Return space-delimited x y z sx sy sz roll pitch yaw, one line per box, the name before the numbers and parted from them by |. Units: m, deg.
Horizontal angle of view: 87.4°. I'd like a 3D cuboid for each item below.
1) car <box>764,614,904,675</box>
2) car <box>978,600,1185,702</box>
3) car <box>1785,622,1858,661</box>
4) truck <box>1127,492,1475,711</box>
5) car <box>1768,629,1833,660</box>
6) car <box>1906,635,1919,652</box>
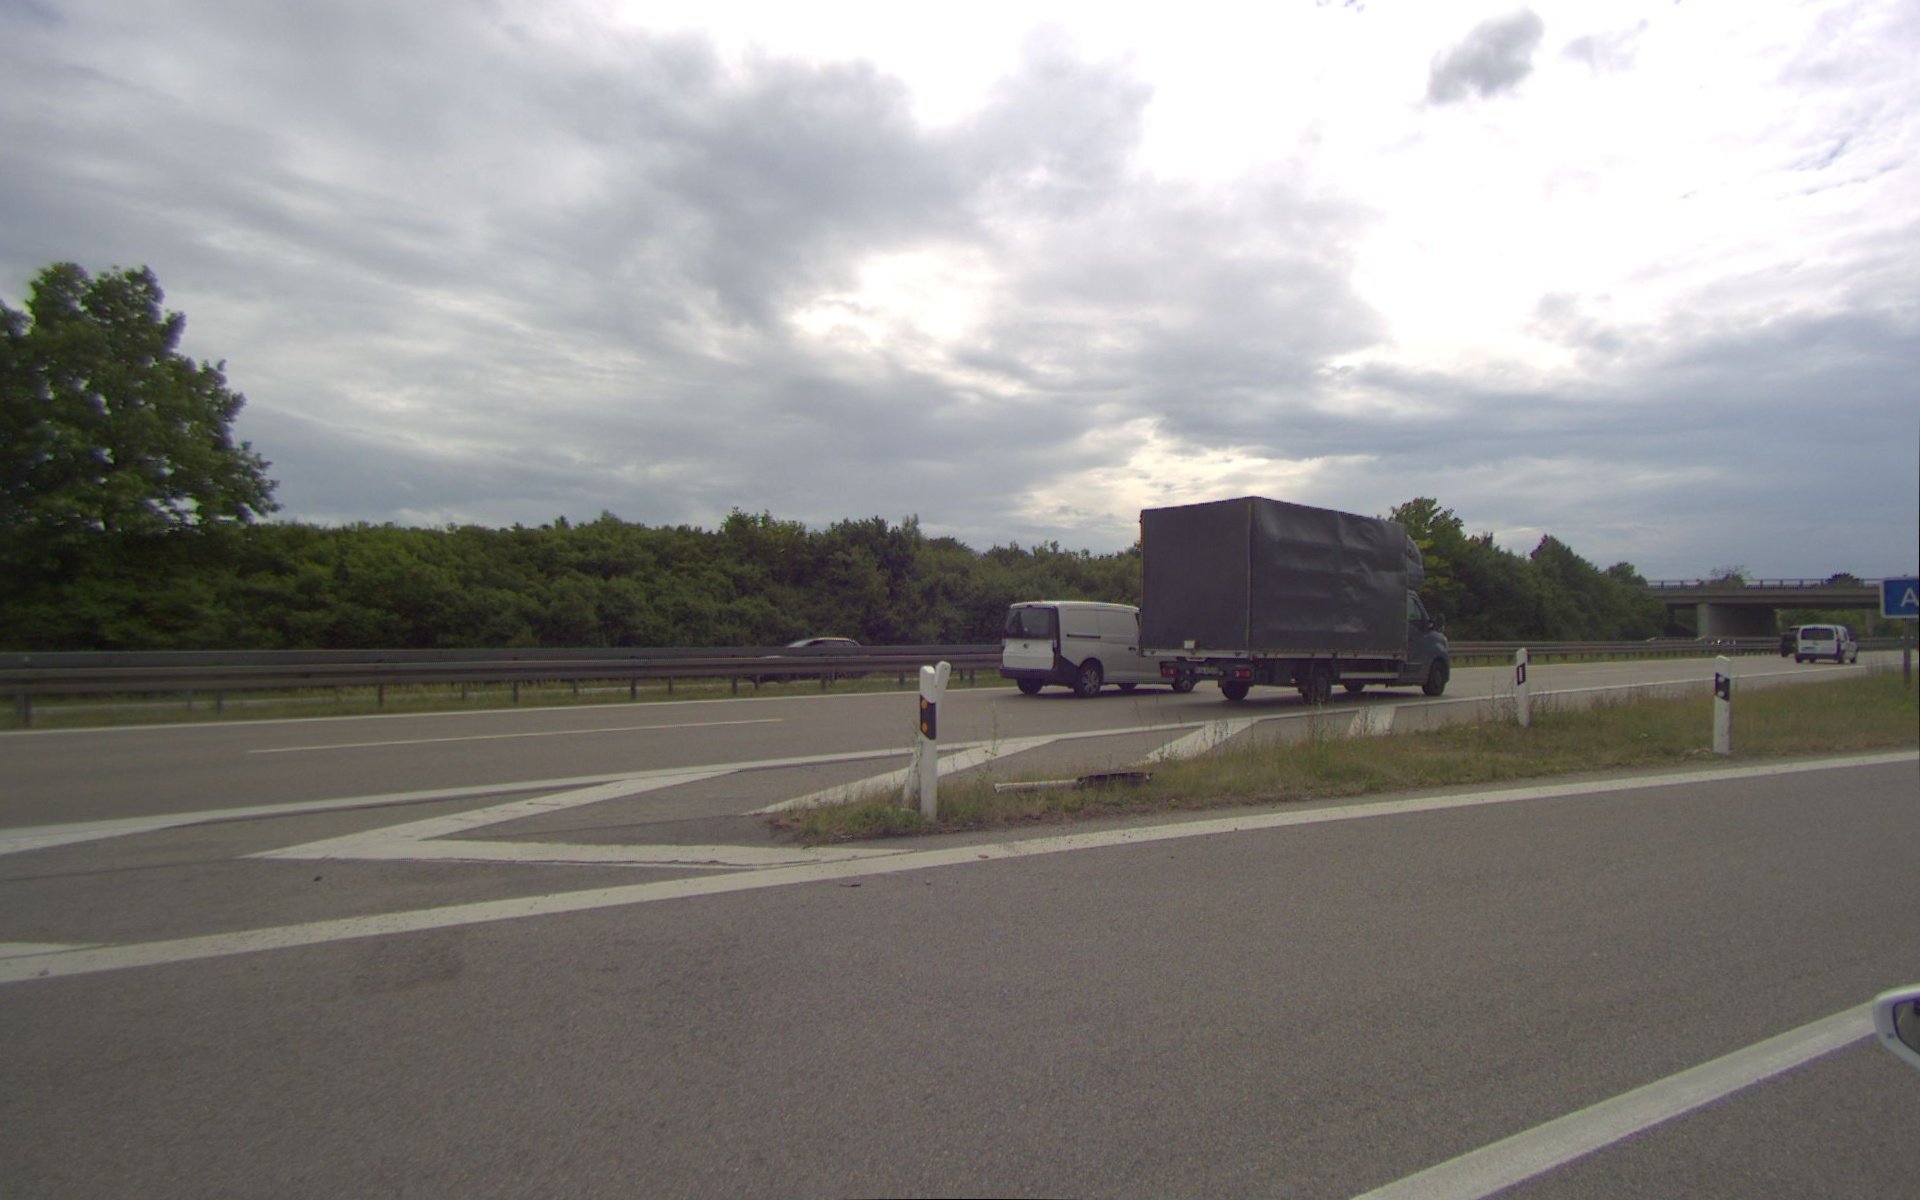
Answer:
car | -3.961 1.395 31.849 3.967 1.826 1.977 2 -2 -40
car | 2.496 0.987 20.234 3.966 1.834 1.978 2 -2 -39
car | 41.517 1.980 48.361 4.447 1.774 1.862 2 -2 -38
truck | 6.745 0.158 19.102 7.855 3.415 2.448 2 -2 -39
car | 50.577 2.658 60.396 5.365 1.809 1.978 2 -2 -39
car | 84.114 3.790 87.653 4.757 1.442 1.708 2 -2 -39
